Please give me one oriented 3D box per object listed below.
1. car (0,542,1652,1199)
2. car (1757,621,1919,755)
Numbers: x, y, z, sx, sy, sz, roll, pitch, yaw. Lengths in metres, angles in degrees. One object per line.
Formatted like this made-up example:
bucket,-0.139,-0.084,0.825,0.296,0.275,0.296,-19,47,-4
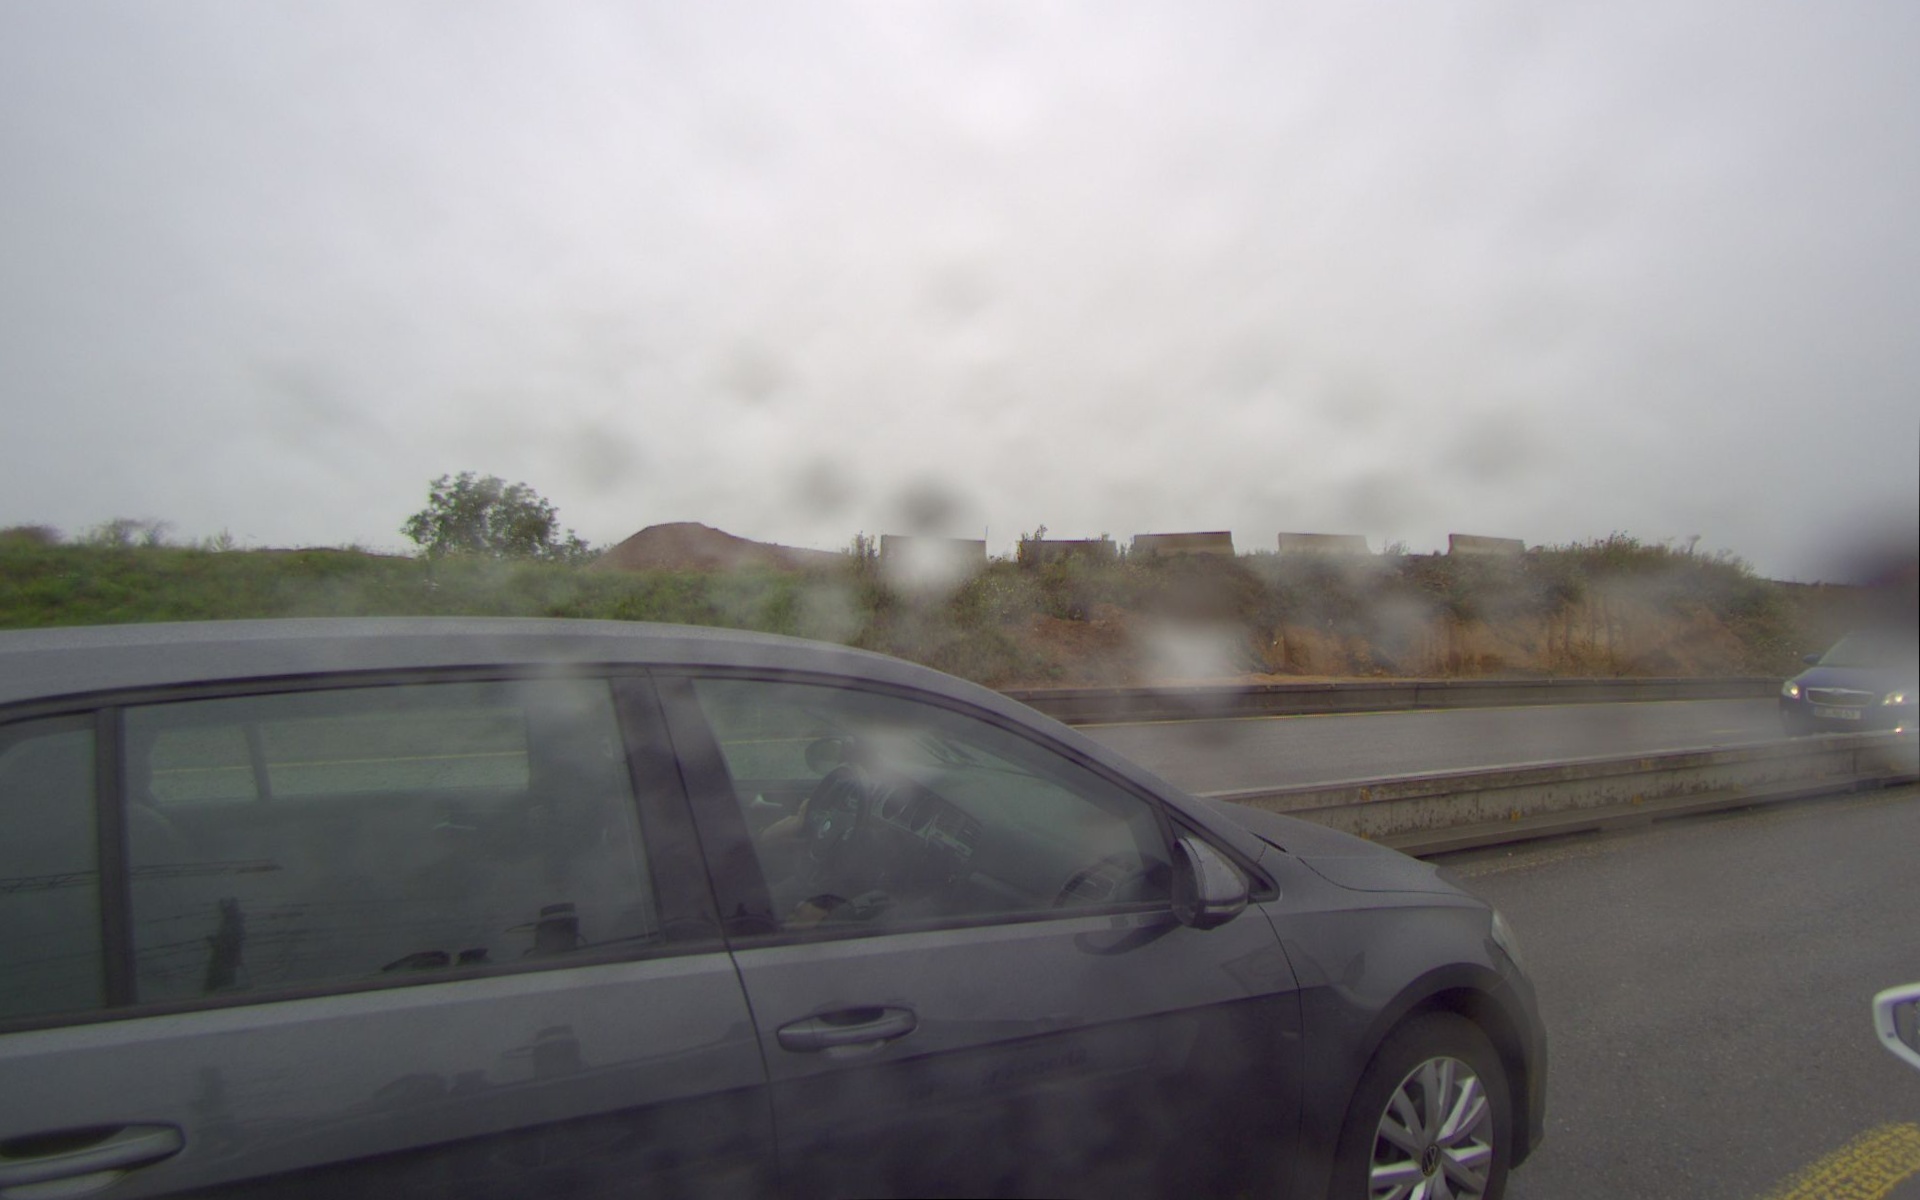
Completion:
car,-0.431,0.772,2.218,4.319,1.526,1.606,2,-3,-31
car,12.509,1.093,13.367,3.782,1.522,1.642,2,0,-29
